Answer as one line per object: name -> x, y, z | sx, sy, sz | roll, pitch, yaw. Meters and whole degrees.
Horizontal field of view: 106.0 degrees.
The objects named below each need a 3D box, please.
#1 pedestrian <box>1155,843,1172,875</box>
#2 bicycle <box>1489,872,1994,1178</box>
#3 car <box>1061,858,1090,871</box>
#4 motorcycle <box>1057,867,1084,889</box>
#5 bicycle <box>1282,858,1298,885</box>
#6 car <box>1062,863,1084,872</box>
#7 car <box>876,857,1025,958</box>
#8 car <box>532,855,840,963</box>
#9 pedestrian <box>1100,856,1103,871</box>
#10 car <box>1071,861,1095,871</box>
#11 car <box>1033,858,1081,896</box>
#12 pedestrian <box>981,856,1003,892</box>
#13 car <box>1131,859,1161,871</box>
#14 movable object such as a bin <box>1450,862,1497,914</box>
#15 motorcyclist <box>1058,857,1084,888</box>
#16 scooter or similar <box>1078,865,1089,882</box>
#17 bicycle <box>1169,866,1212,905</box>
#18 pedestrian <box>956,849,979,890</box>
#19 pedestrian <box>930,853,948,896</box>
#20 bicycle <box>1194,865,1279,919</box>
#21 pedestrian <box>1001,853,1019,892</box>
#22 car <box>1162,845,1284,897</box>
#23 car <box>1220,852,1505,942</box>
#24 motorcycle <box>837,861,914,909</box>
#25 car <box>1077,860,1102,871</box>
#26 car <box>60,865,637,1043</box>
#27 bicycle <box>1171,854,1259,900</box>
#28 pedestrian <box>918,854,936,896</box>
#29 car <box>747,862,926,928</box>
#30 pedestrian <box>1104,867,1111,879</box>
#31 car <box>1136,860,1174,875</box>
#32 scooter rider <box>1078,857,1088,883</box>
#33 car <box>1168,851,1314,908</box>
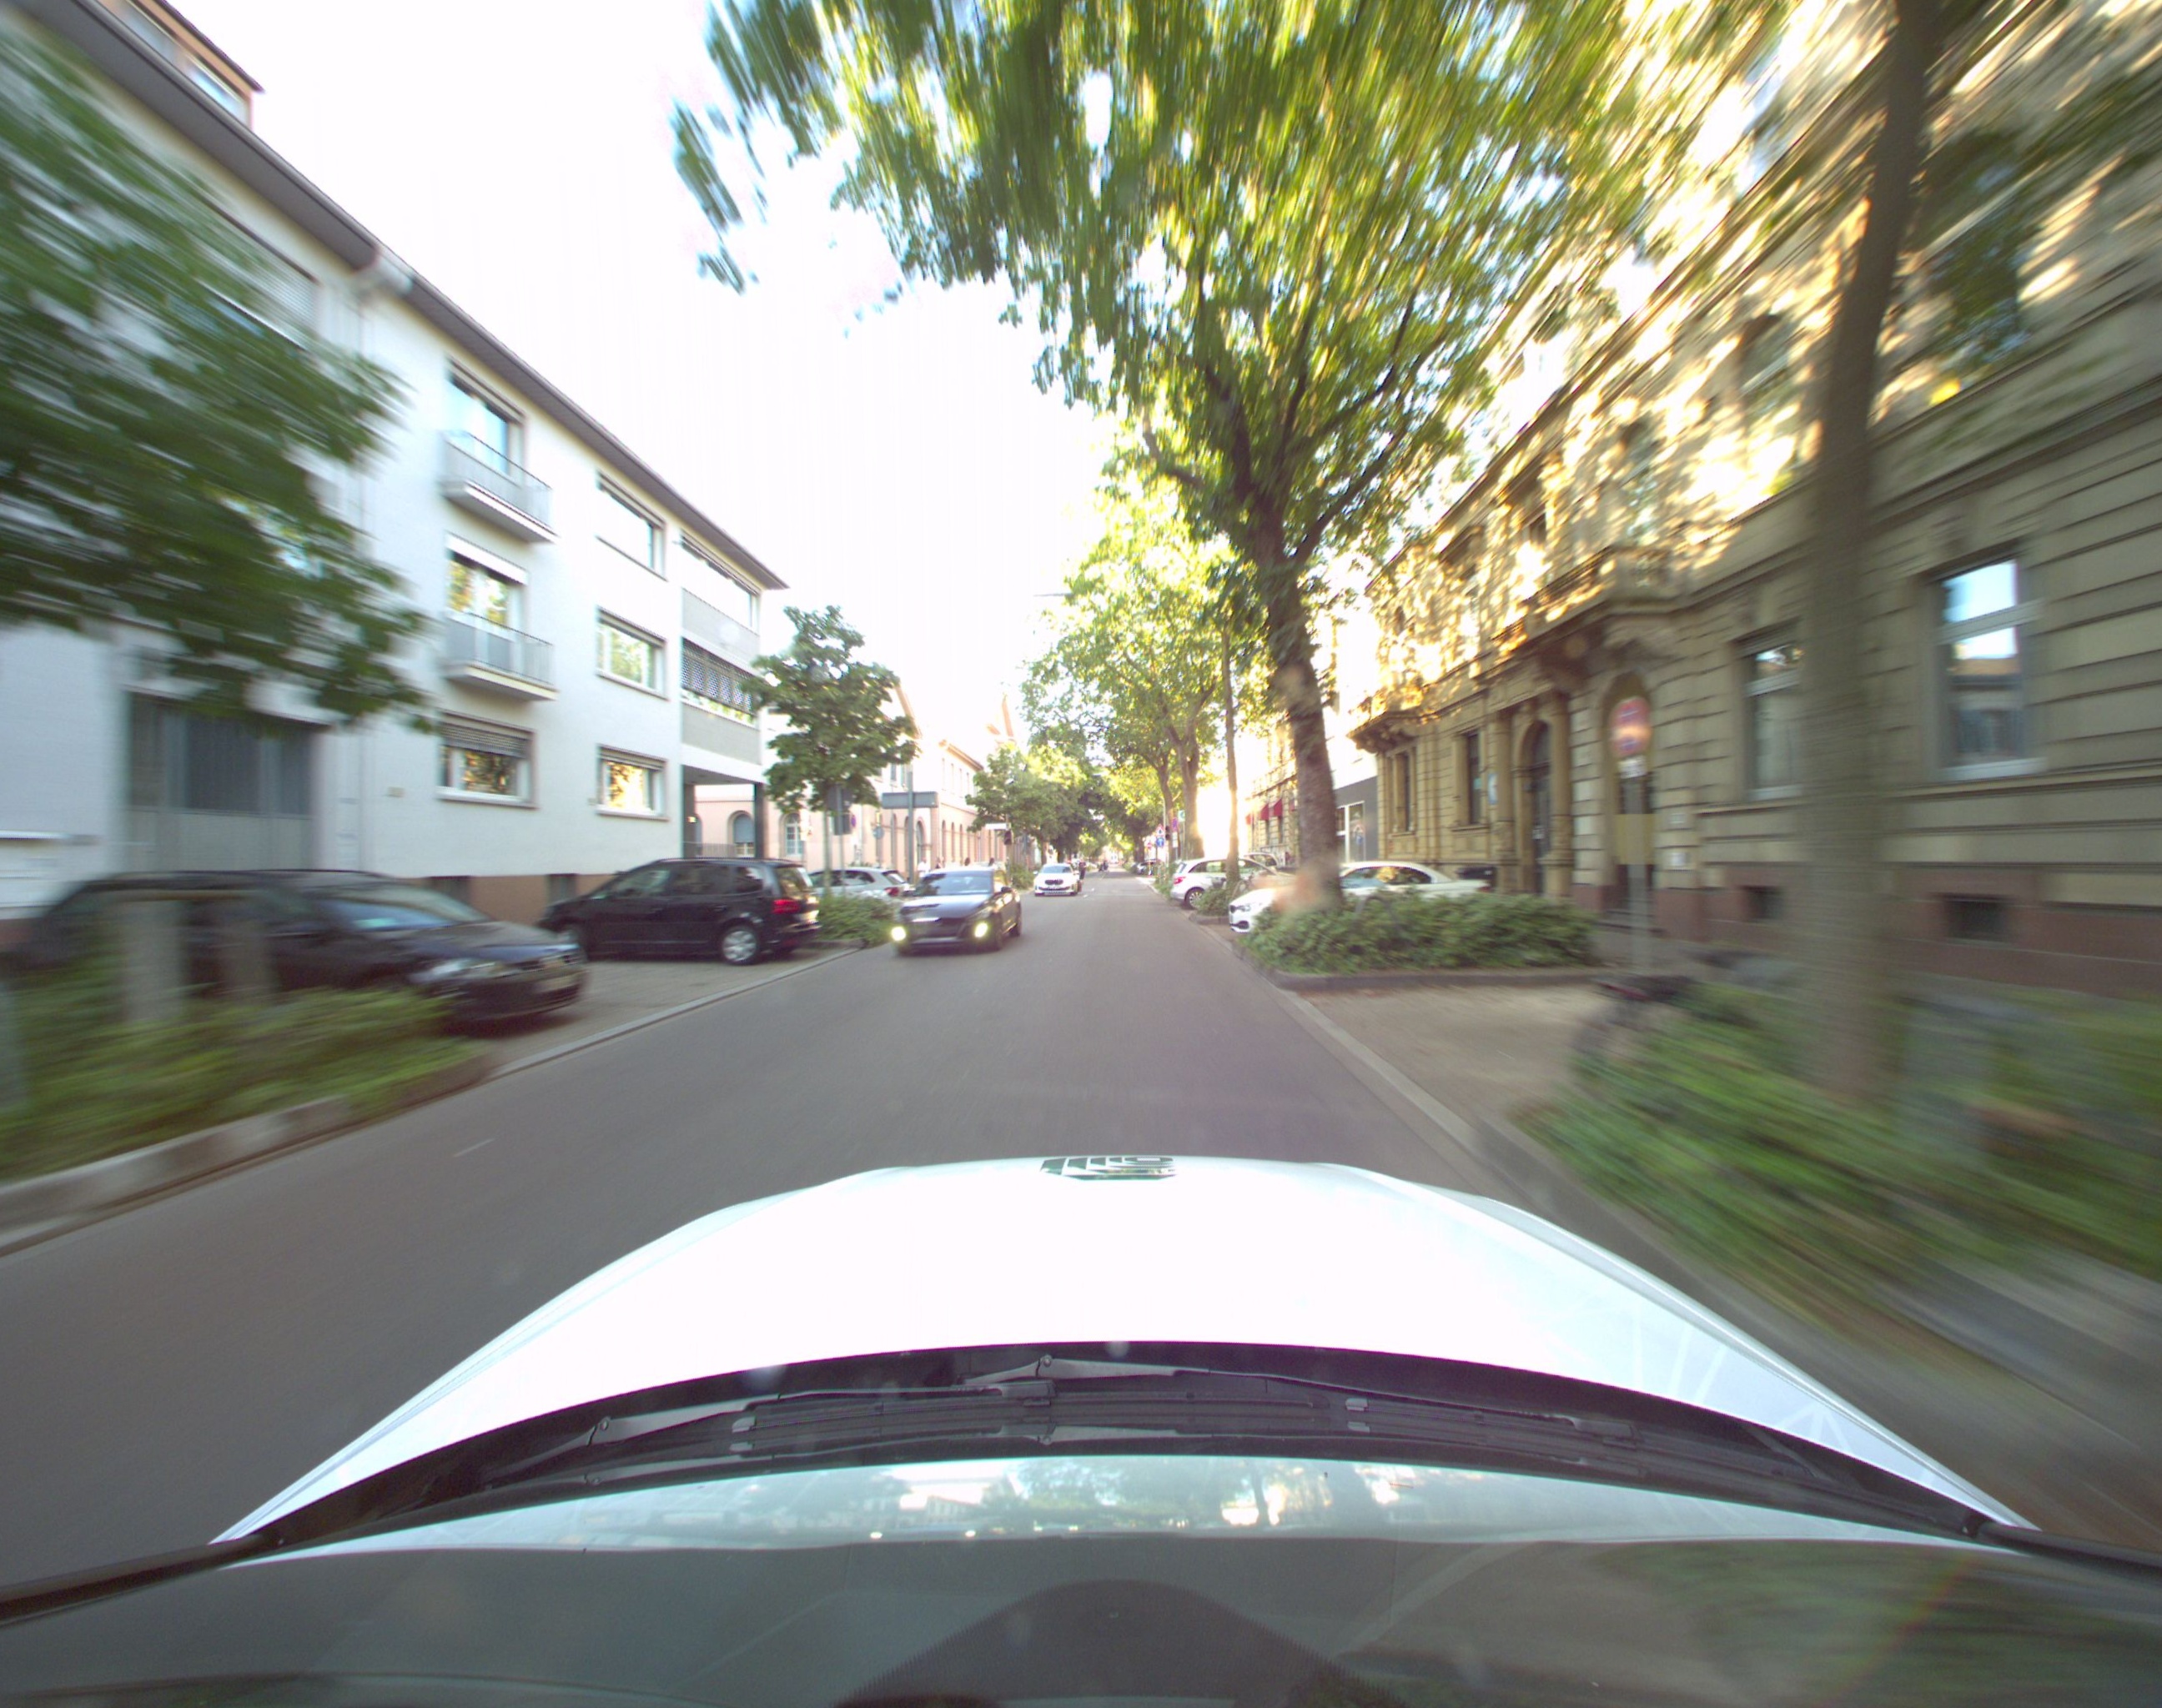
pedestrian -> 5.559, 0.370, 54.919 | 1.039, 2.146, 1.064 | 0, -1, 3
bicycle -> 3.118, 0.779, 3.941 | 2.039, 1.360, 0.508 | 0, 0, 0
car -> -1.035, 1.853, 145.559 | 5.045, 2.083, 2.264 | -1, -1, 1
motorcycle -> -0.536, 1.291, 42.977 | 1.306, 1.090, 2.397 | -1, -2, 3
bicycle -> 9.591, 0.800, 37.443 | 0.383, 1.211, 1.727 | -1, -1, 4
car -> -1.425, 2.287, 140.166 | 3.715, 1.508, 1.872 | -1, -1, -2
car -> -2.226, 0.869, 15.113 | 1.869, 1.549, 4.277 | -2, -1, 2
car -> -6.301, 0.841, 13.346 | 4.075, 1.632, 1.937 | 0, -1, 3
pedestrian -> 2.825, 1.309, 112.255 | 0.500, 2.014, 0.621 | 0, -1, 4
car -> 0.432, 2.614, 181.865 | 5.043, 2.083, 2.265 | -1, -1, 3
car -> -1.033, 0.991, 36.592 | 1.870, 1.549, 4.276 | -2, -1, 1
pedestrian -> -4.304, 0.954, 39.456 | 0.847, 1.738, 0.770 | 1, -2, -28
car -> 8.993, 1.507, 112.351 | 4.000, 1.623, 1.781 | -1, -1, 1
movable object such as a bin -> 8.294, 0.719, 17.232 | 0.655, 1.064, 0.615 | -2, -1, 2
motorcyclist -> -0.528, 0.986, 43.055 | 1.275, 1.592, 1.078 | -1, -1, 2
scooter or similar -> 0.163, 1.329, 56.287 | 0.498, 1.145, 1.254 | -1, -2, 13
bicycle -> 3.626, 1.038, 27.010 | 1.332, 1.204, 0.488 | -2, -1, 1
pedestrian -> -5.054, 0.679, 36.277 | 0.786, 1.791, 0.772 | 2, 0, 5
pedestrian -> -6.284, 0.896, 36.140 | 0.550, 1.850, 0.614 | 0, 1, 17
bicycle -> 3.901, 0.938, 20.433 | 2.020, 1.204, 0.487 | -3, -1, -11
pedestrian -> -3.527, 0.925, 40.368 | 0.768, 1.888, 0.790 | -1, -1, -10
car -> 5.653, 0.674, 32.737 | 4.526, 1.915, 1.950 | -2, -1, 0
car -> 4.934, 0.745, 14.848 | 4.563, 1.437, 1.927 | -1, 0, 4
motorcycle -> -6.294, 0.951, 24.948 | 2.129, 1.419, 0.973 | -2, -1, 23
car -> 1.732, 2.354, 170.933 | 5.042, 2.083, 2.265 | -1, -1, 3
car -> -6.836, 0.859, 7.906 | 4.057, 1.440, 1.756 | 1, -1, 3
bicycle -> 4.914, 0.823, 29.943 | 3.105, 1.663, 0.658 | 0, -1, -2
pedestrian -> -6.880, 0.923, 36.383 | 0.550, 1.850, 0.614 | -1, -1, 17
car -> -5.824, 0.947, 19.687 | 3.728, 1.458, 1.735 | 1, -1, 1
pedestrian -> 3.677, 2.573, 112.334 | 0.870, 1.650, 0.656 | 0, -1, 10
car -> 8.257, 1.475, 91.292 | 4.176, 1.480, 1.853 | -2, -1, 2
scooter rider -> 0.164, 1.124, 56.317 | 0.491, 1.791, 0.877 | -1, -2, 12
car -> 4.830, 0.764, 25.142 | 4.204, 1.560, 1.974 | -2, 0, 5
